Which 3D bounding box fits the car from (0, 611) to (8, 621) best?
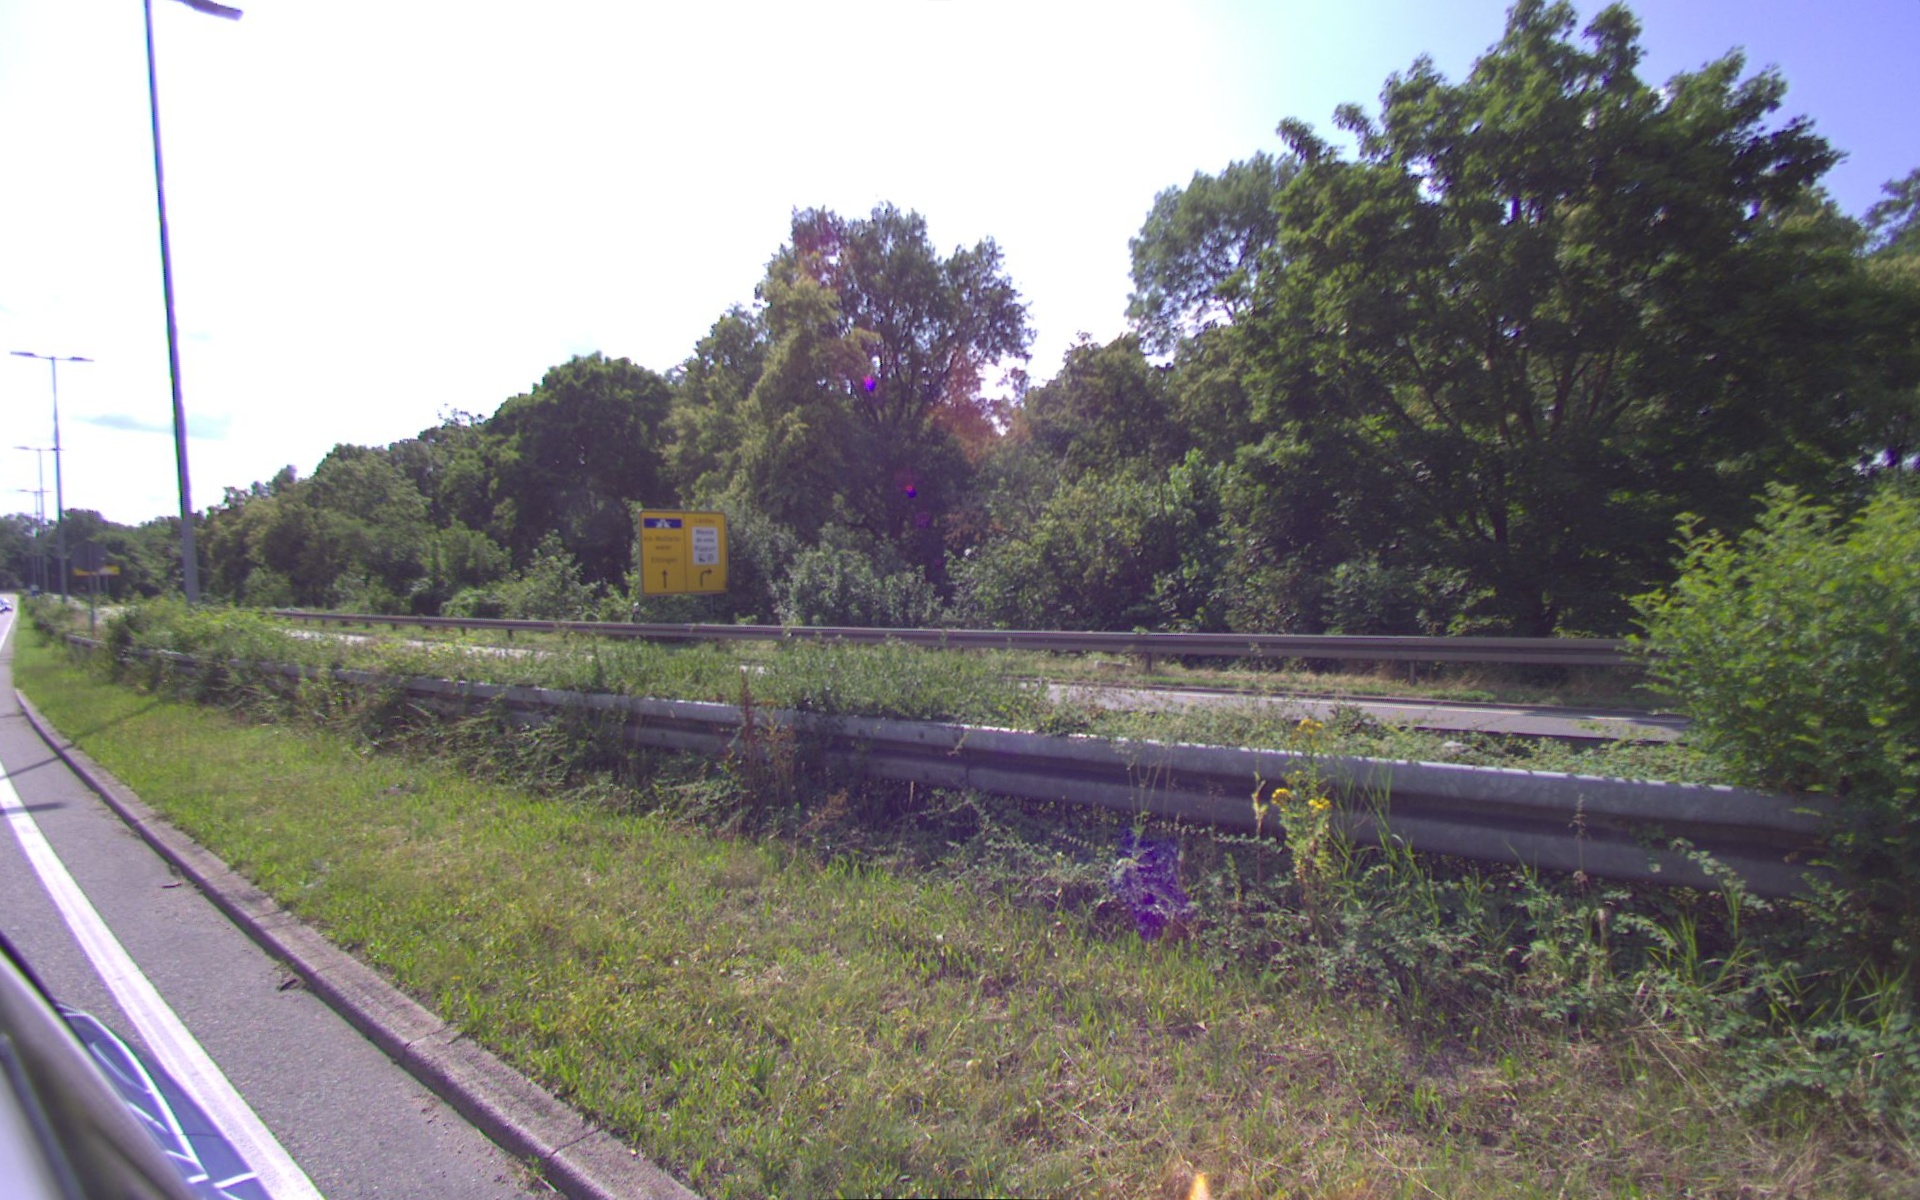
[{"bbox_3d":[-134.517,2.289,141.667,1.771,1.386,4.004,-2,0,-42],"label":"car"}]
